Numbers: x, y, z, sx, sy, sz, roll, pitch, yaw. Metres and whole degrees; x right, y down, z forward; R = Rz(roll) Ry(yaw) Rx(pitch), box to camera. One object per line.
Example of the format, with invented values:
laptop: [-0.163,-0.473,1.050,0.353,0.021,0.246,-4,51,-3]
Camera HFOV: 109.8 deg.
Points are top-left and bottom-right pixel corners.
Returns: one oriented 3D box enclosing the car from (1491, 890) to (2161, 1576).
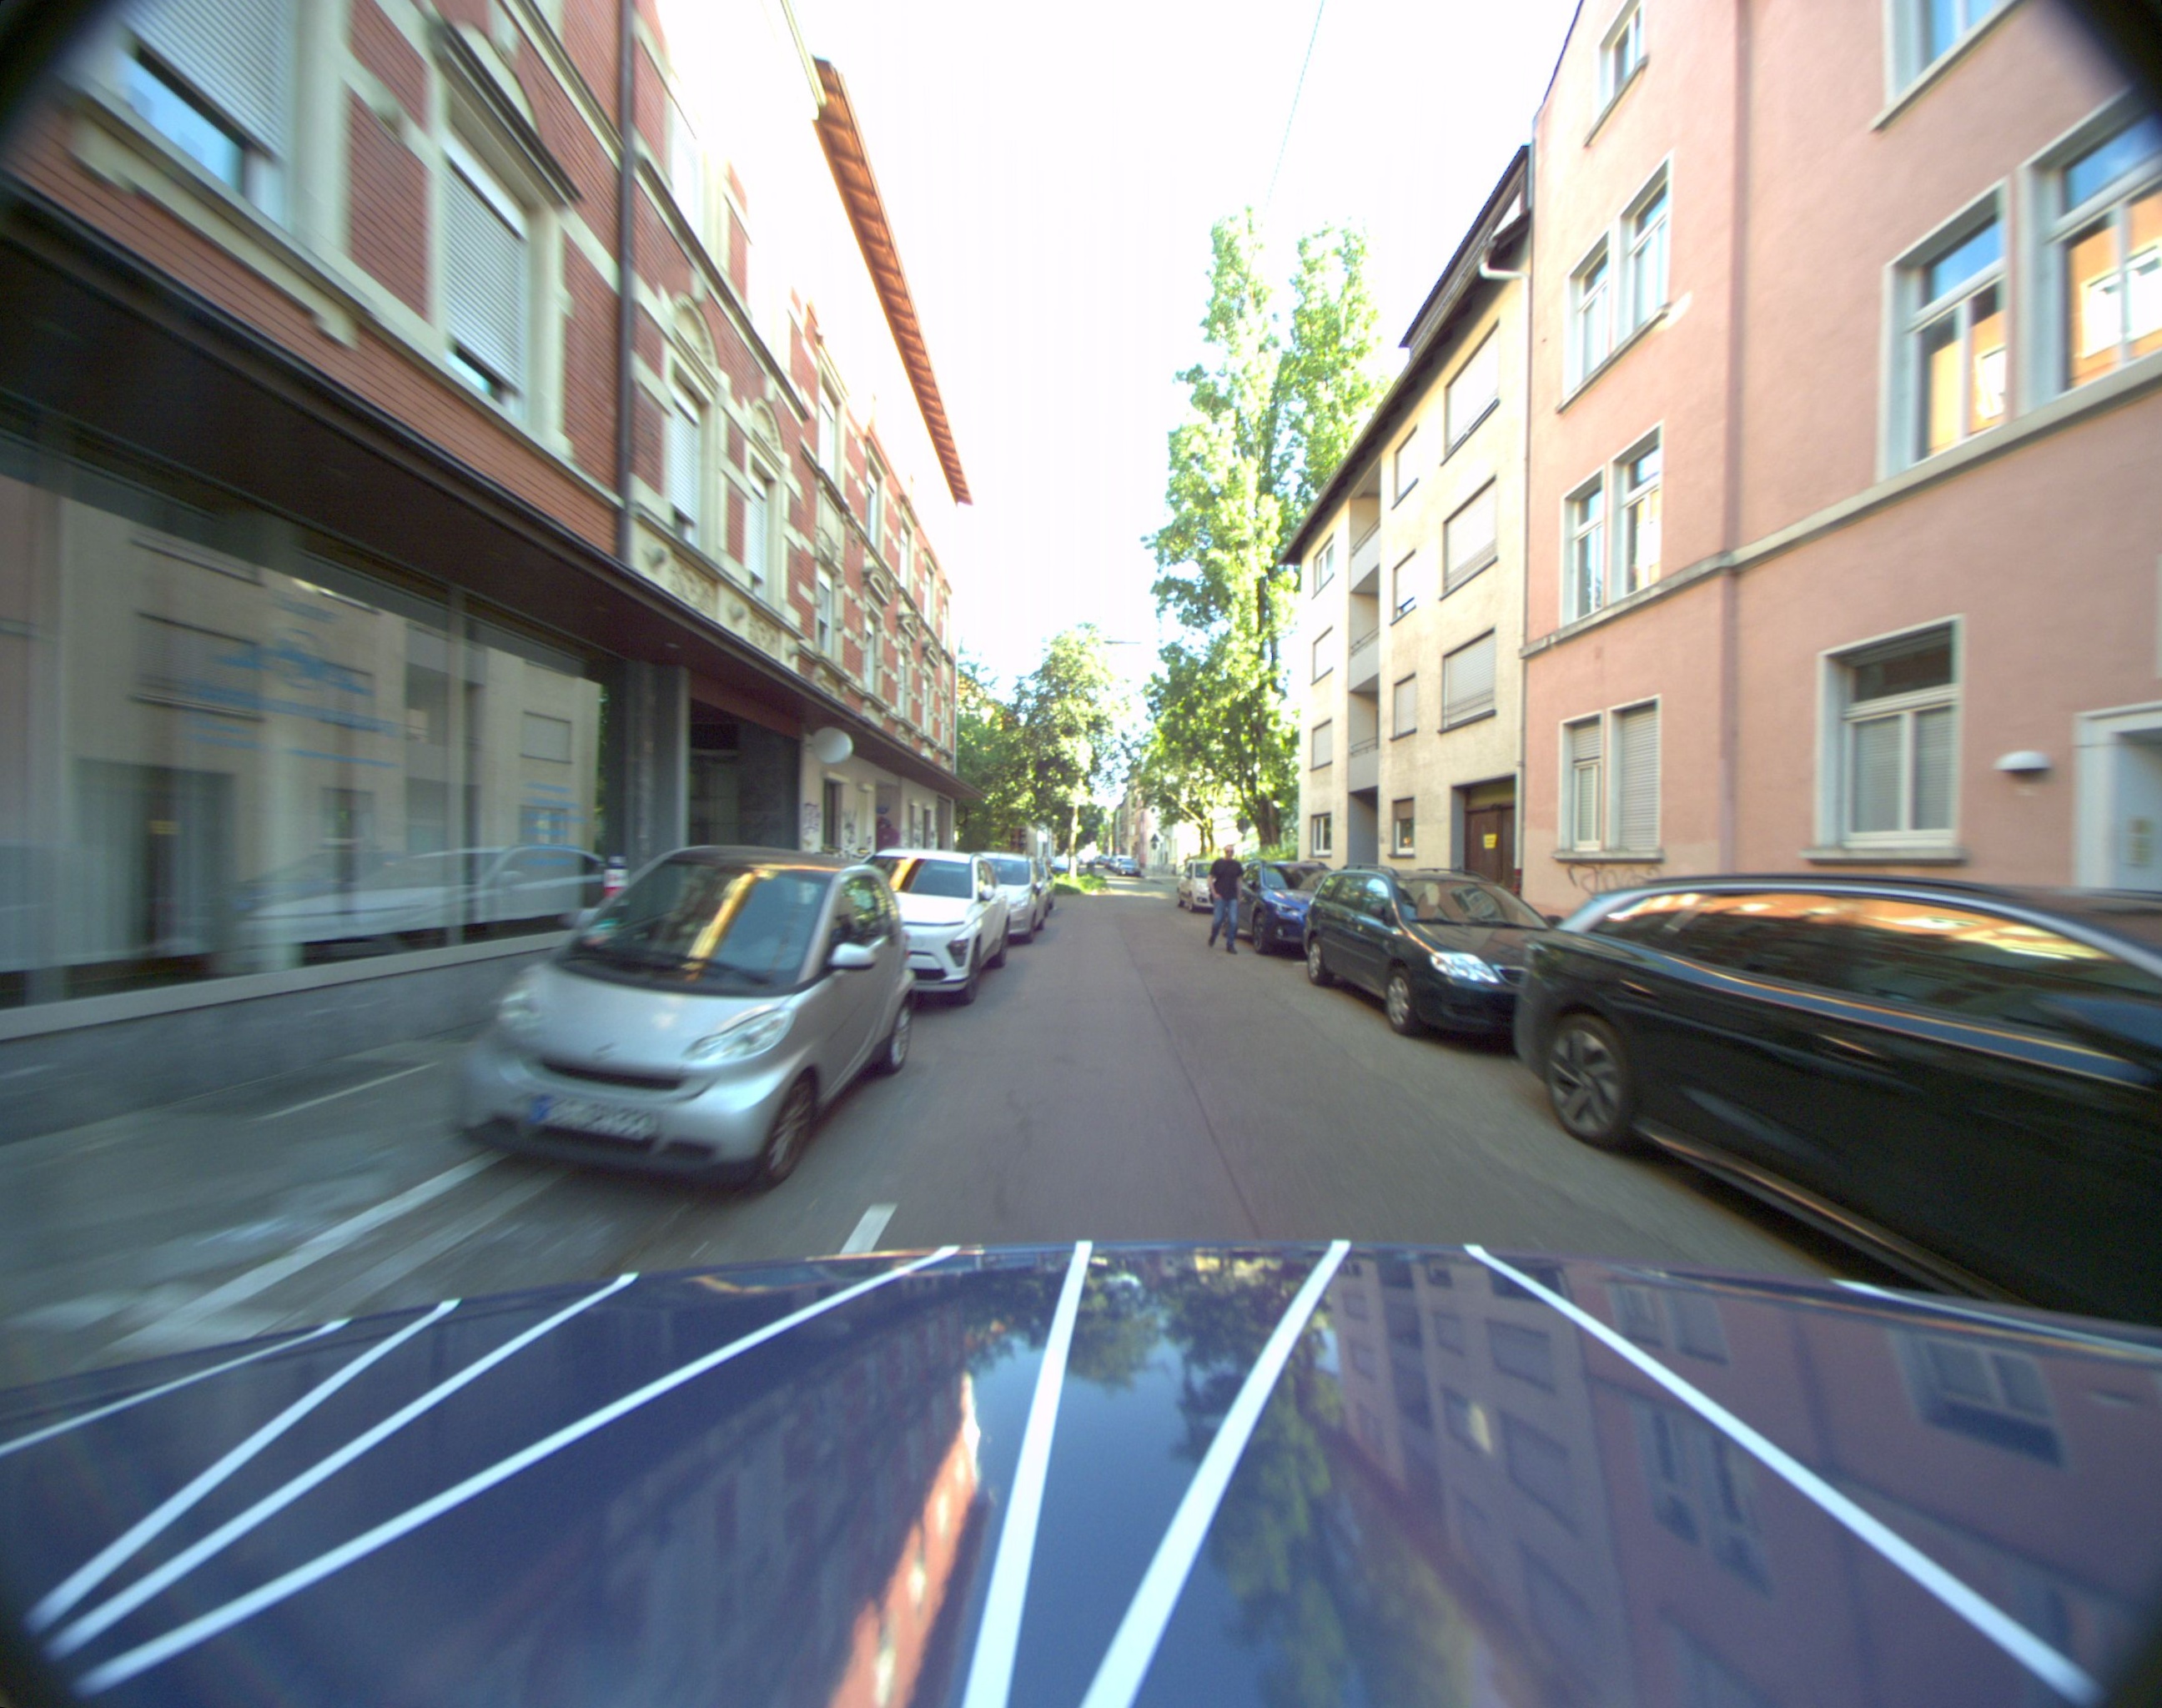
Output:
car: [3.515,1.011,2.523,1.771,1.500,4.696,2,0,1]

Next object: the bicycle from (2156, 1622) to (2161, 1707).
bicycle: [1.876,1.045,0.145,0.688,1.151,1.846,3,1,-2]

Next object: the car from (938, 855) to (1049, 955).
car: [-1.548,0.860,14.622,1.603,1.626,3.774,-1,0,1]

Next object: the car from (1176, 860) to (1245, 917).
car: [3.811,0.964,22.874,1.464,1.512,3.660,2,0,1]

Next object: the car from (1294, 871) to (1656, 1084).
car: [3.578,0.991,7.825,1.646,1.483,4.000,2,0,1]

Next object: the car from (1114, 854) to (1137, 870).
car: [4.490,0.816,77.386,2.168,1.508,5.377,2,0,2]

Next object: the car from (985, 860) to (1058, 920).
car: [-1.550,0.919,21.108,1.646,1.442,4.166,-1,0,1]

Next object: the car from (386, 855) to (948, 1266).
car: [-2.020,0.858,4.873,1.525,1.525,3.463,7,0,1]

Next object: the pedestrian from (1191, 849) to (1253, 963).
pedestrian: [2.295,0.821,12.468,0.740,1.743,0.997,4,1,1]

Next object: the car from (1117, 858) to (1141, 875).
car: [3.979,1.022,63.066,1.759,1.293,4.249,2,0,1]

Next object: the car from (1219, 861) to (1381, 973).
car: [3.642,0.957,13.422,1.646,1.565,4.249,2,0,1]

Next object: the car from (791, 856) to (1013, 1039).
car: [-1.841,0.874,9.075,1.603,1.652,4.060,-1,0,1]
